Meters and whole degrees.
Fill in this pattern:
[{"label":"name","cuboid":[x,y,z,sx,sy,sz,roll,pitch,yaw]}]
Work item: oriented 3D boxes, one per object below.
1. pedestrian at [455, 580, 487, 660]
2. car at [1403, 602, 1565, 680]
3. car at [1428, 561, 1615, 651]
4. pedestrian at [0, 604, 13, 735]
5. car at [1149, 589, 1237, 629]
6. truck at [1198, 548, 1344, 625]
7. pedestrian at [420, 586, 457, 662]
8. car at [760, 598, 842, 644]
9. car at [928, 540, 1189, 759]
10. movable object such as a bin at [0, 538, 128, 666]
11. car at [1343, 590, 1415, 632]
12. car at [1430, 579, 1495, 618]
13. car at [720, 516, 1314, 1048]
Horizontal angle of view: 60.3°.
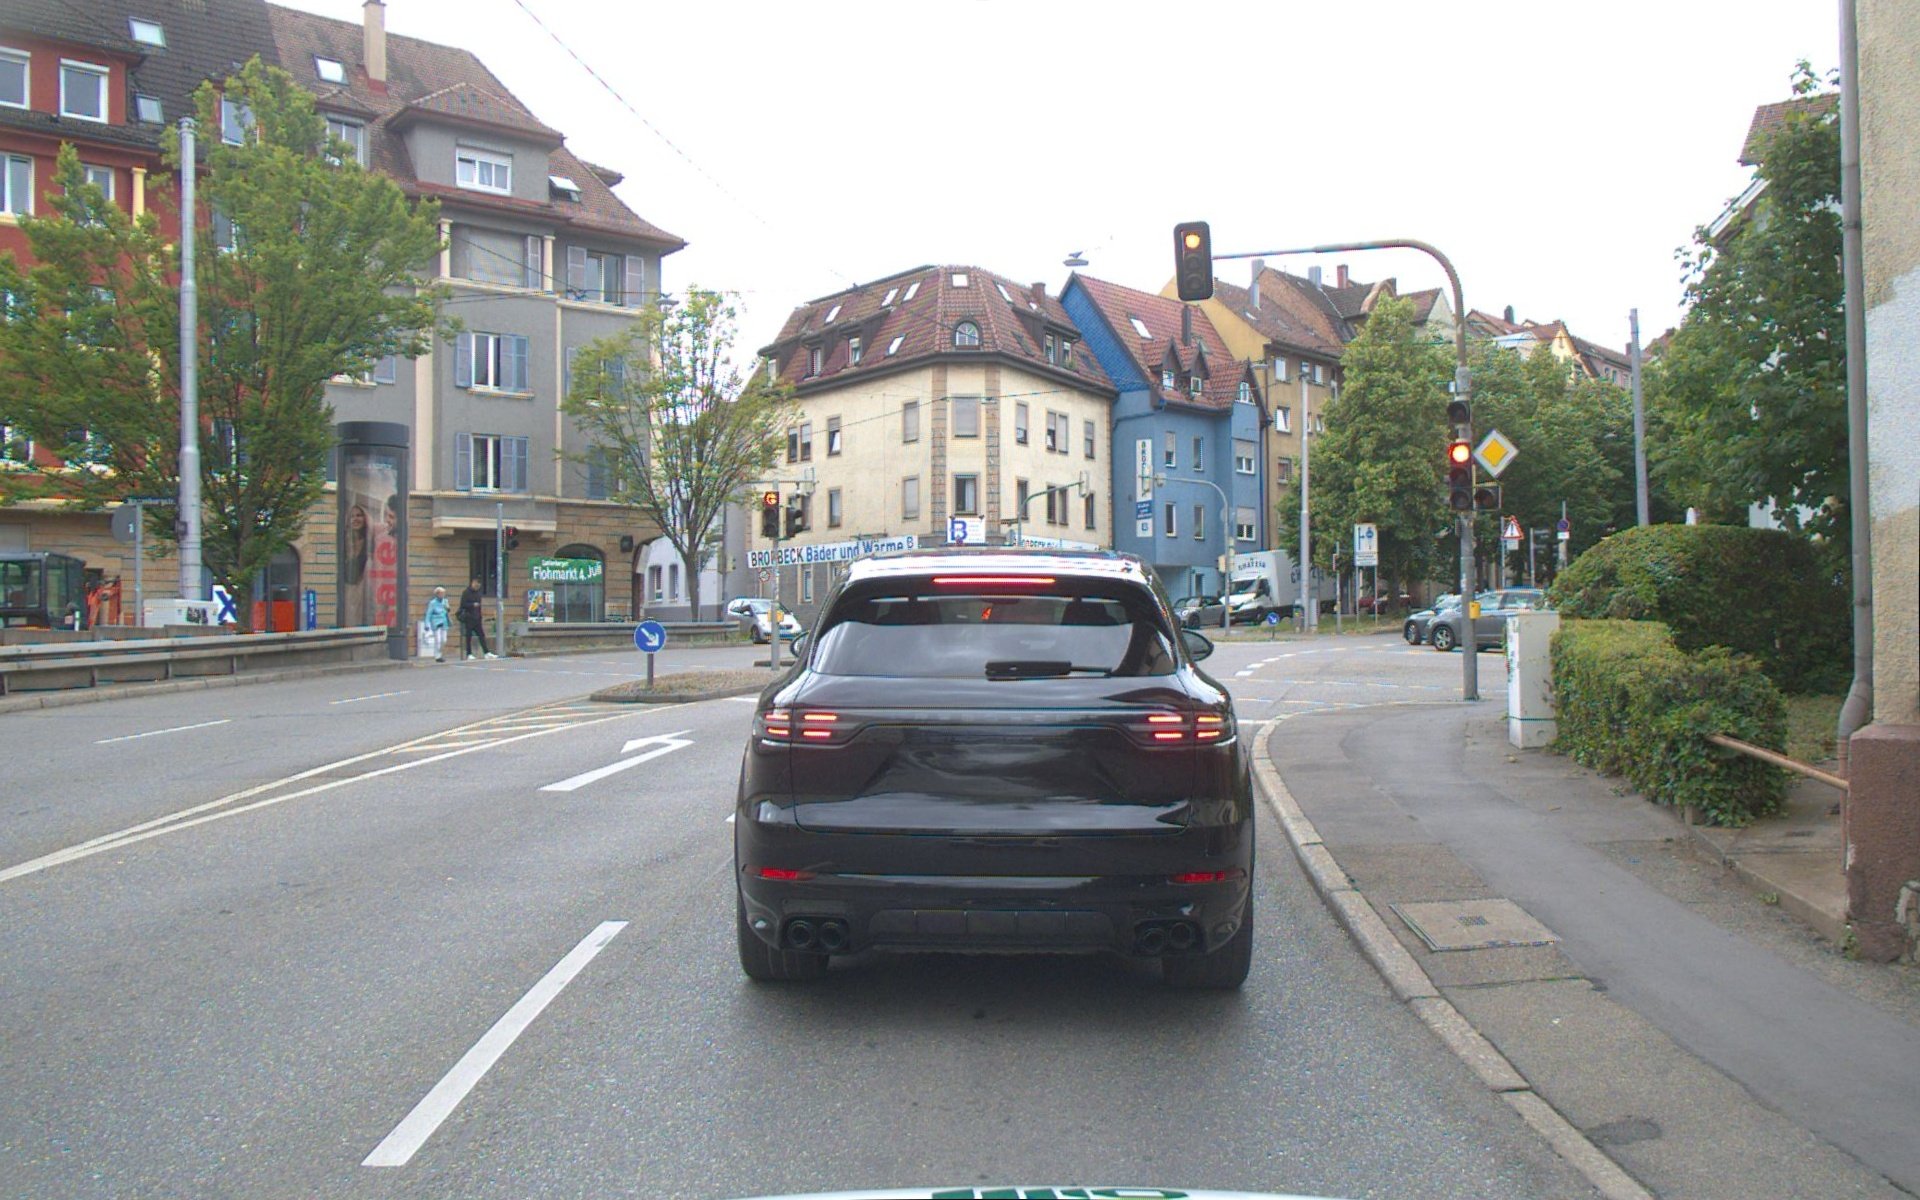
[{"label":"pedestrian","cuboid":[-10.995,0.445,37.207,0.503,1.760,0.451,2,-1,1]},{"label":"car","cuboid":[14.666,1.123,46.460,1.977,2.049,3.951,2,-1,-35]},{"label":"car","cuboid":[13.705,0.150,40.542,1.977,2.049,3.951,2,-1,-35]},{"label":"pedestrian","cuboid":[-13.281,0.938,22.563,0.537,1.760,0.586,2,-1,-35]},{"label":"car","cuboid":[10.142,0.379,71.942,1.964,1.713,3.977,0,0,41]},{"label":"truck","cuboid":[14.893,-0.603,78.695,2.830,3.398,8.744,2,0,41]},{"label":"pedestrian","cuboid":[-11.073,0.506,35.157,0.577,1.594,0.486,2,-1,-1]},{"label":"car","cuboid":[-5.734,0.760,60.099,1.848,1.607,3.973,-1,-1,12]},{"label":"car","cuboid":[1.037,0.391,15.072,1.951,1.713,4.003,0,0,10]},{"label":"movable object such as a bin","cuboid":[-14.373,0.003,25.459,1.870,1.802,3.986,2,0,-14]},{"label":"car","cuboid":[21.921,0.567,86.477,1.965,2.049,3.975,2,0,42]},{"label":"car","cuboid":[28.452,-0.101,93.647,1.965,2.049,3.975,2,0,42]},{"label":"car","cuboid":[0.075,0.559,7.384,1.939,1.713,3.997,0,1,-4]}]
